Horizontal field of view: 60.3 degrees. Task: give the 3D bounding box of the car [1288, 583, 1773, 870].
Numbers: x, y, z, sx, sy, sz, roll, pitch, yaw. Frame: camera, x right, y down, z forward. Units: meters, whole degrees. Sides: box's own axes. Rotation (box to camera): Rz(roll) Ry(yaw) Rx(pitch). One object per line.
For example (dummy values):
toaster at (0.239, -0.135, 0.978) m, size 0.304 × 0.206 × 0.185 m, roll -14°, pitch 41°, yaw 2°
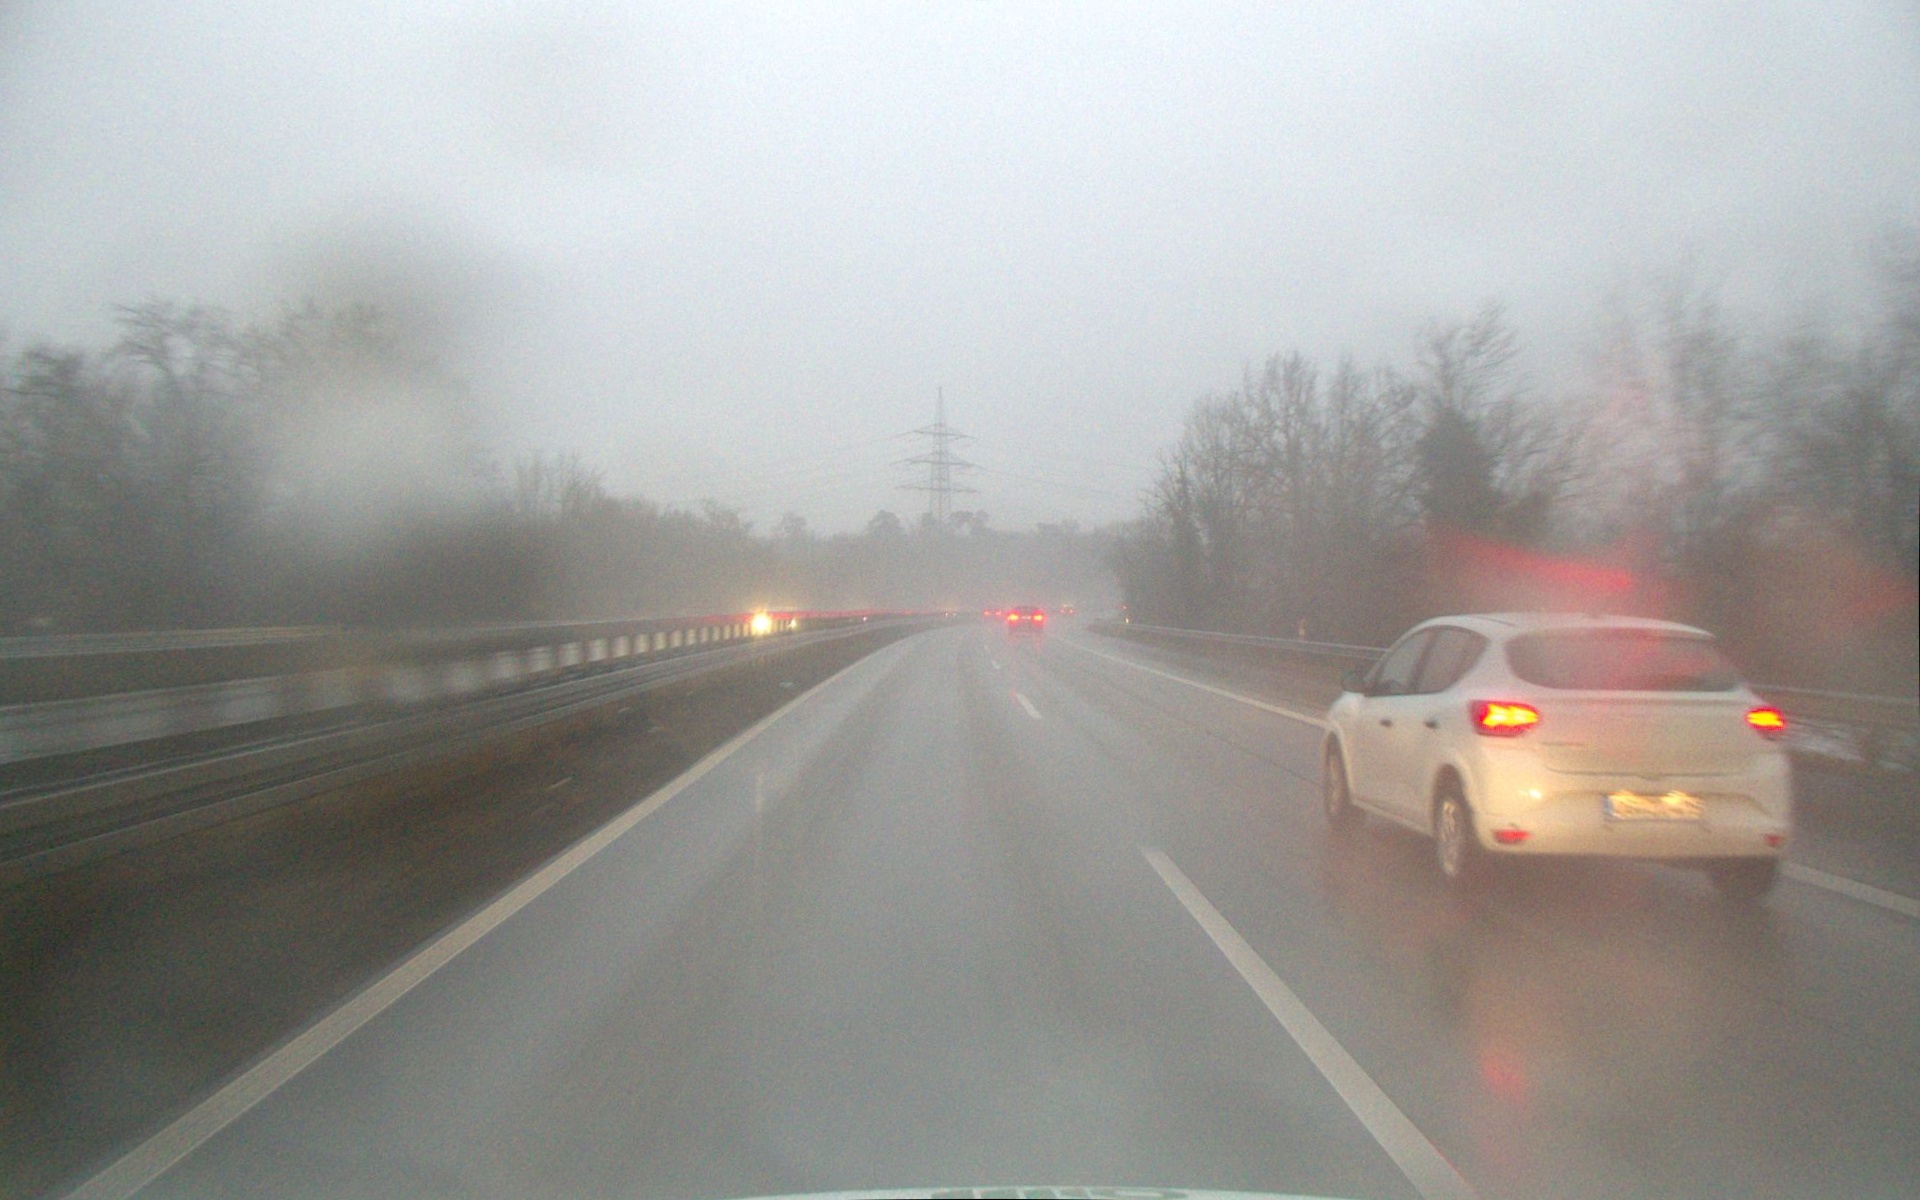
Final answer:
car at (3.475, 0.670, 10.922) m, size 1.761 × 1.529 × 3.999 m, roll -1°, pitch 0°, yaw -1°
